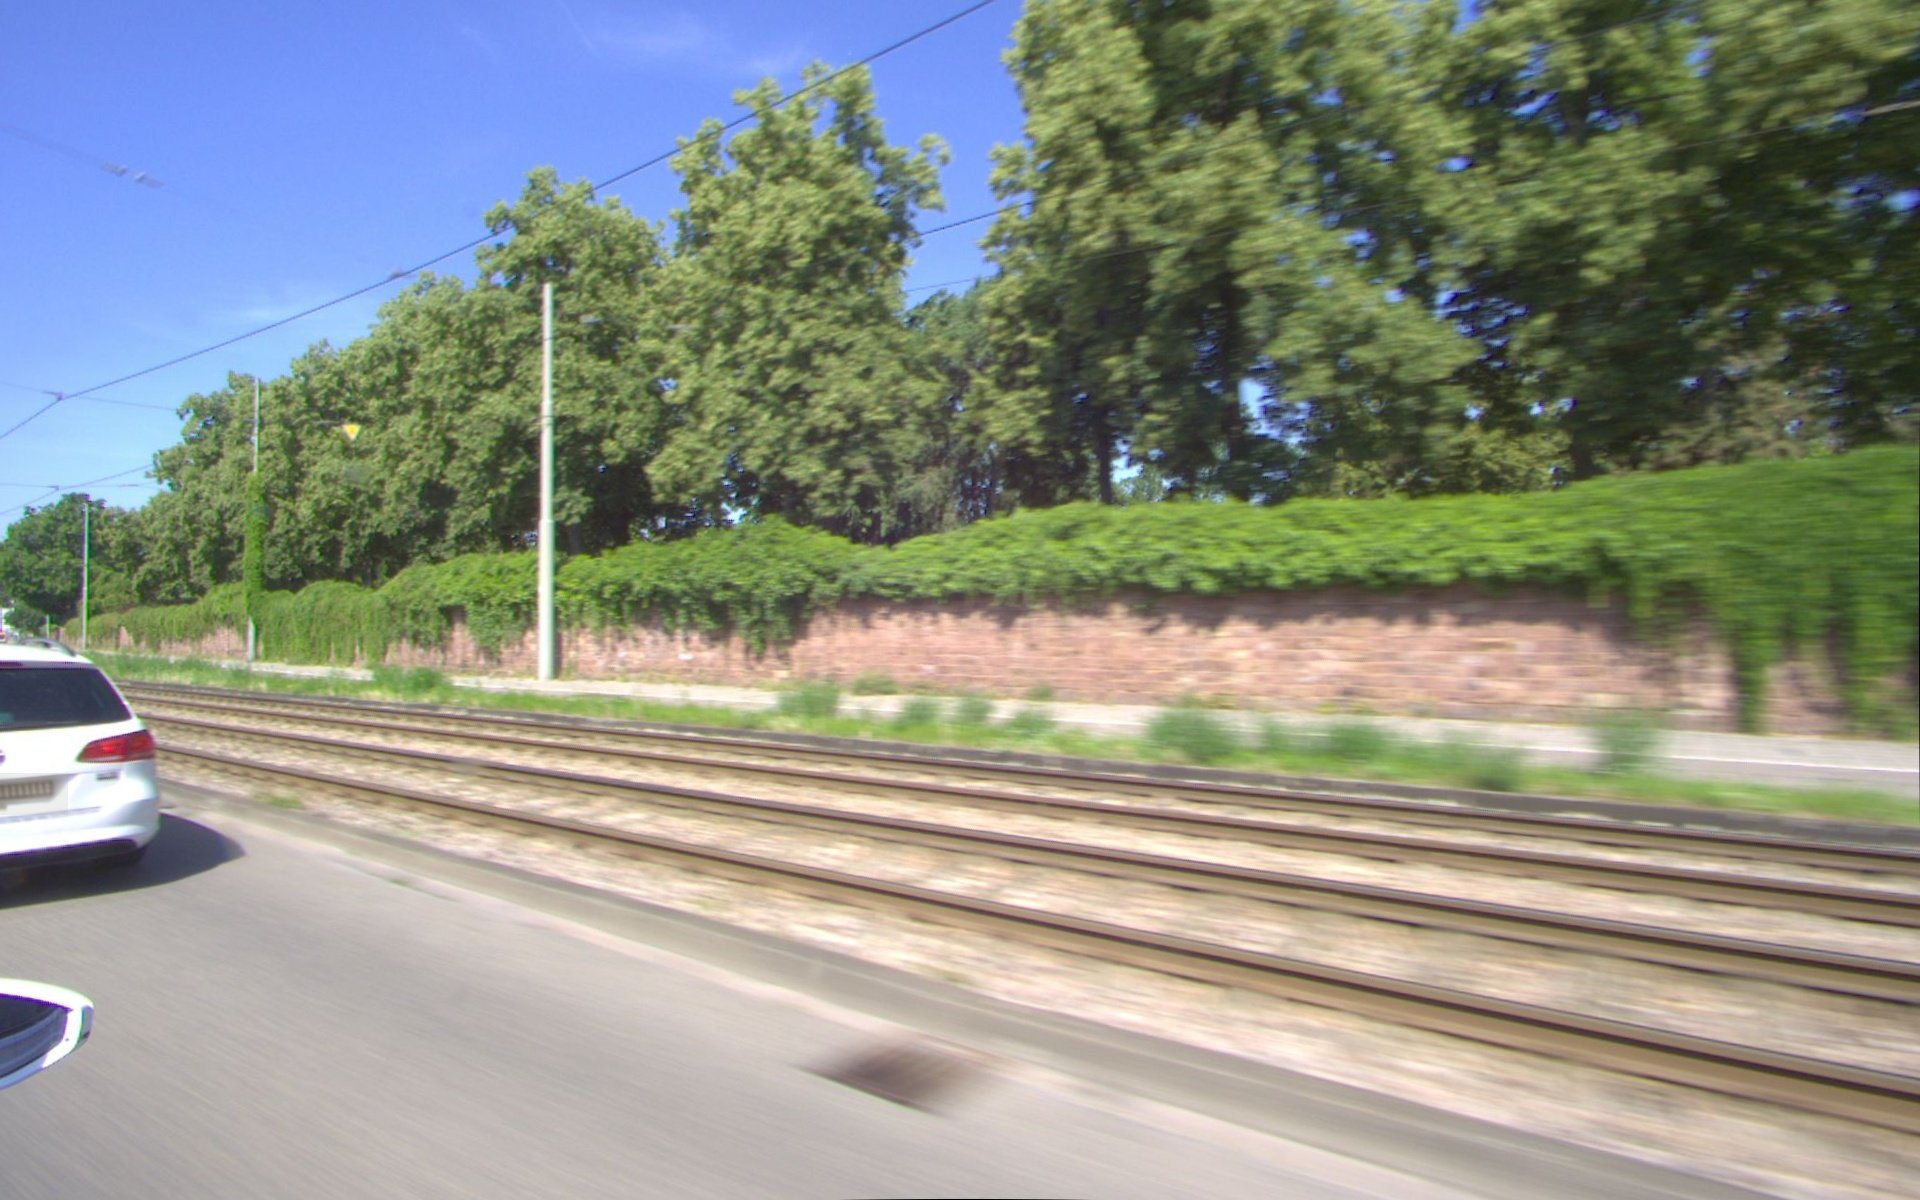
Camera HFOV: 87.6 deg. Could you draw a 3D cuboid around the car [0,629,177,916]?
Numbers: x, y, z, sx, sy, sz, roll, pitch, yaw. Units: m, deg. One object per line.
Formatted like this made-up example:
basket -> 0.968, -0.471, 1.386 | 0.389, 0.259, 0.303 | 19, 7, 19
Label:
car -> -6.859, 0.934, 6.502 | 4.401, 1.469, 1.686 | 0, -2, 37
